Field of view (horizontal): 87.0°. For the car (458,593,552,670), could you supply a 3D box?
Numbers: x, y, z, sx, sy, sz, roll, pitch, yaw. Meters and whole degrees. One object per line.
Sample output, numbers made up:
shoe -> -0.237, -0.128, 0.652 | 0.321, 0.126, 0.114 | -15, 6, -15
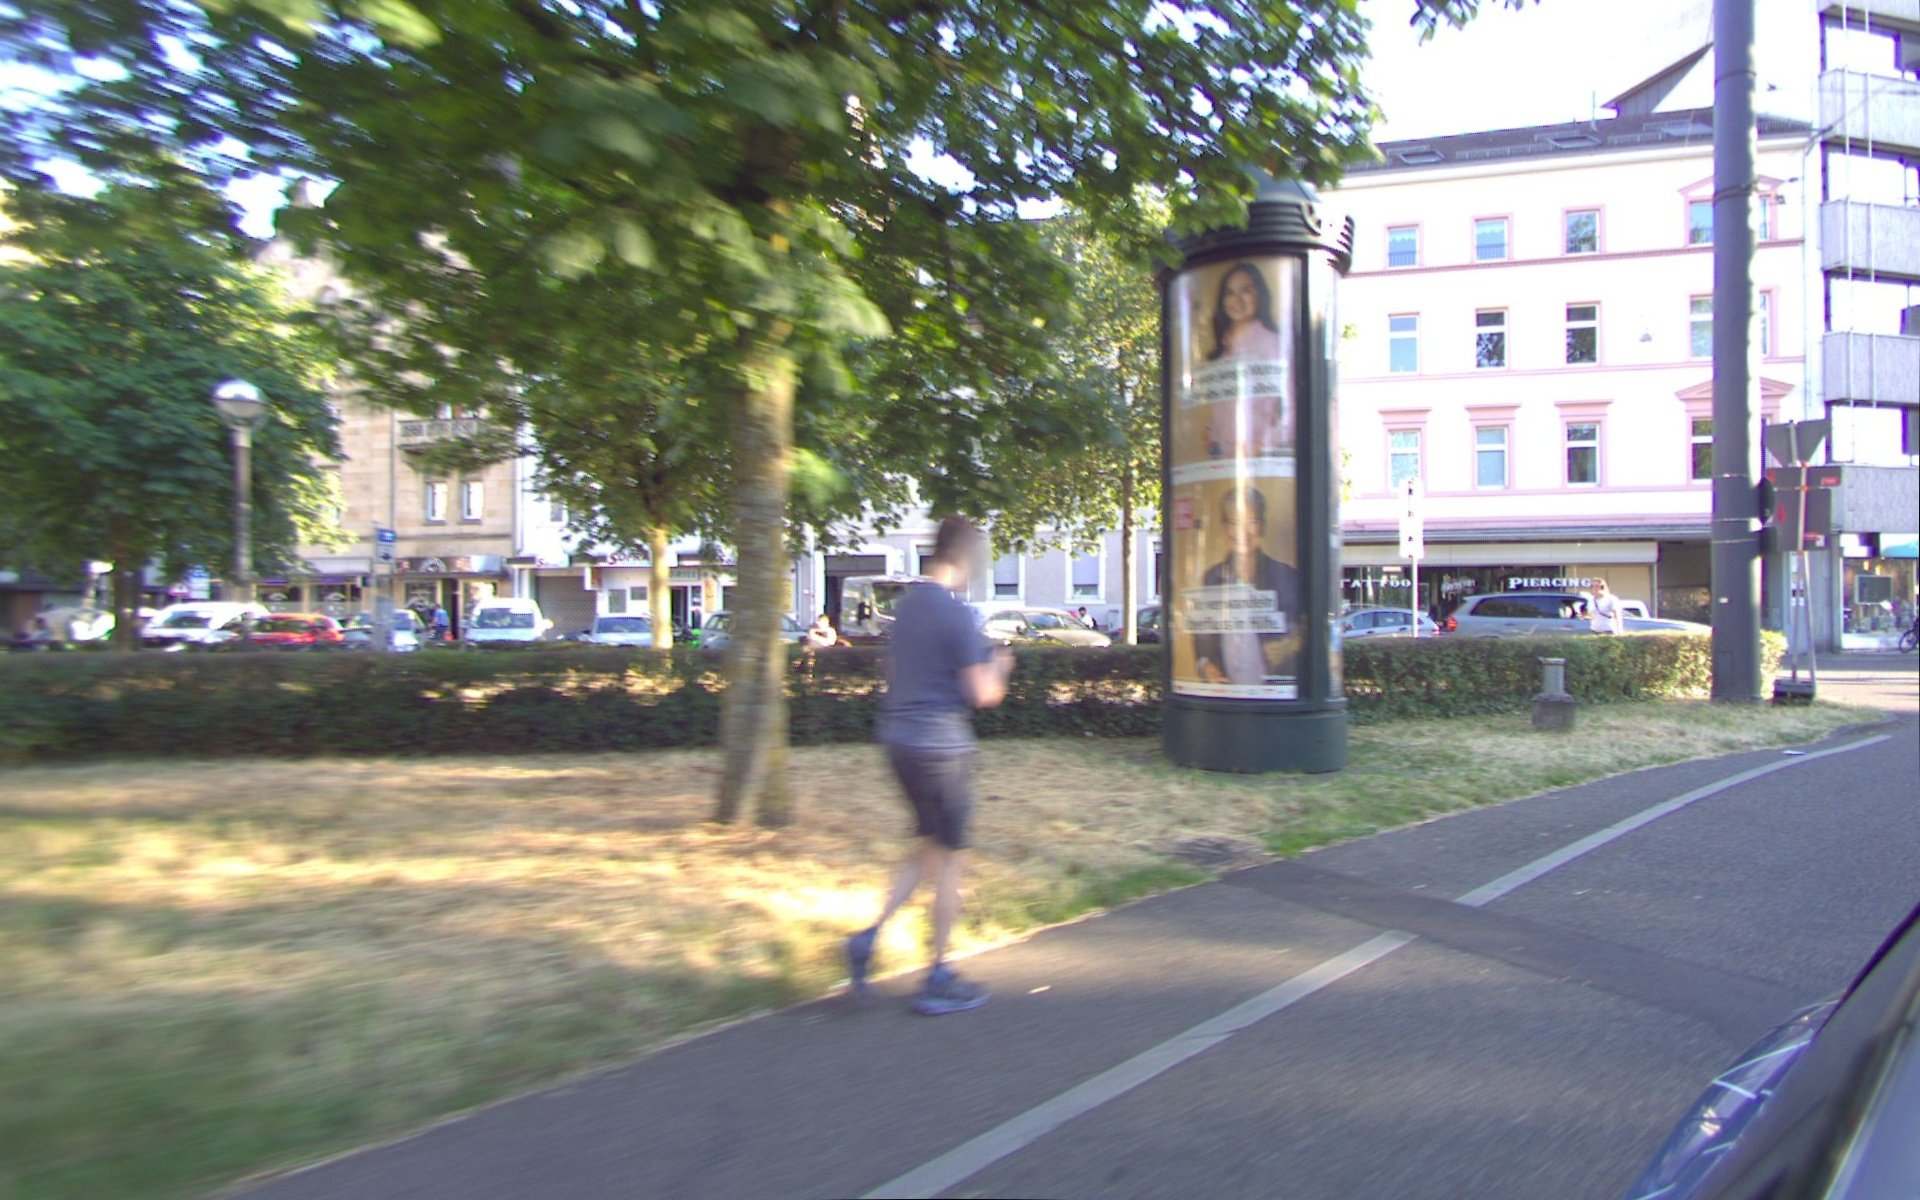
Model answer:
car -> -11.327, 0.764, 25.089 | 1.959, 1.728, 4.005 | 0, -1, -26

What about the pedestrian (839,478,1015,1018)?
pedestrian -> -0.100, 0.482, 3.652 | 0.578, 1.766, 0.643 | 0, -1, 2

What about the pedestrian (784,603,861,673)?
pedestrian -> -2.525, 0.683, 18.750 | 0.947, 1.241, 1.364 | -1, -1, 16

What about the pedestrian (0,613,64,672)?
pedestrian -> -21.001, 0.946, 22.541 | 1.028, 1.266, 1.432 | -2, -2, 41

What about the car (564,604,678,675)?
car -> -8.096, 0.897, 23.963 | 1.959, 1.505, 4.004 | 0, -1, -27

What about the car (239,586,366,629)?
car -> -25.319, 0.286, 39.015 | 3.941, 1.514, 1.944 | -1, 1, 14

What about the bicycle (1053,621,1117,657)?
bicycle -> 3.728, 1.158, 30.108 | 1.806, 1.025, 0.730 | -1, -1, 13

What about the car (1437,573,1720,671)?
car -> 12.657, 0.458, 20.896 | 4.691, 1.794, 1.970 | -2, -2, 42

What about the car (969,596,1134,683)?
car -> 1.820, 0.794, 21.476 | 1.911, 1.625, 4.007 | -1, -1, -21

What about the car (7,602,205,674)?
car -> -23.212, 0.996, 27.731 | 1.879, 1.796, 3.992 | -1, -1, 6

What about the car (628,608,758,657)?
car -> -9.299, 1.124, 35.395 | 3.941, 1.514, 1.944 | -1, 1, 14

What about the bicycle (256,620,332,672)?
bicycle -> -14.033, 0.954, 21.348 | 0.320, 1.008, 1.466 | -1, 0, 17

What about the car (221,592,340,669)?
car -> -17.340, 0.753, 26.014 | 1.873, 1.796, 4.006 | -1, -1, -24

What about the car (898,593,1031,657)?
car -> 0.177, 0.784, 32.842 | 3.941, 1.909, 1.944 | -1, 1, 14

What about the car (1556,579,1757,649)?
car -> 19.370, 0.376, 28.349 | 4.165, 1.806, 1.925 | -1, 1, 13

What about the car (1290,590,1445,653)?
car -> 11.961, 0.628, 29.993 | 3.940, 1.660, 1.993 | -1, 2, 13

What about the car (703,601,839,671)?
car -> -4.409, 0.790, 23.101 | 1.959, 1.416, 4.004 | 0, -1, -27

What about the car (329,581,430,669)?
car -> -14.750, 0.624, 25.906 | 1.959, 2.039, 4.005 | 0, -1, -26

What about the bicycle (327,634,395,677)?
bicycle -> -12.053, 1.097, 20.385 | 0.439, 0.789, 1.271 | -1, 0, 11

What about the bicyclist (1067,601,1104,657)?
bicyclist -> 3.730, 0.865, 30.120 | 0.995, 1.635, 0.718 | -1, -2, 13

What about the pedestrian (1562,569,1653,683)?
pedestrian -> 10.253, 0.400, 16.033 | 0.957, 1.753, 0.728 | 0, -2, -20

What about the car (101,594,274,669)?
car -> -20.231, 0.815, 26.734 | 1.874, 1.796, 4.004 | -1, -1, -7

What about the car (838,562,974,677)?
car -> -1.348, 0.427, 22.634 | 2.050, 2.269, 4.889 | -1, -1, -15
